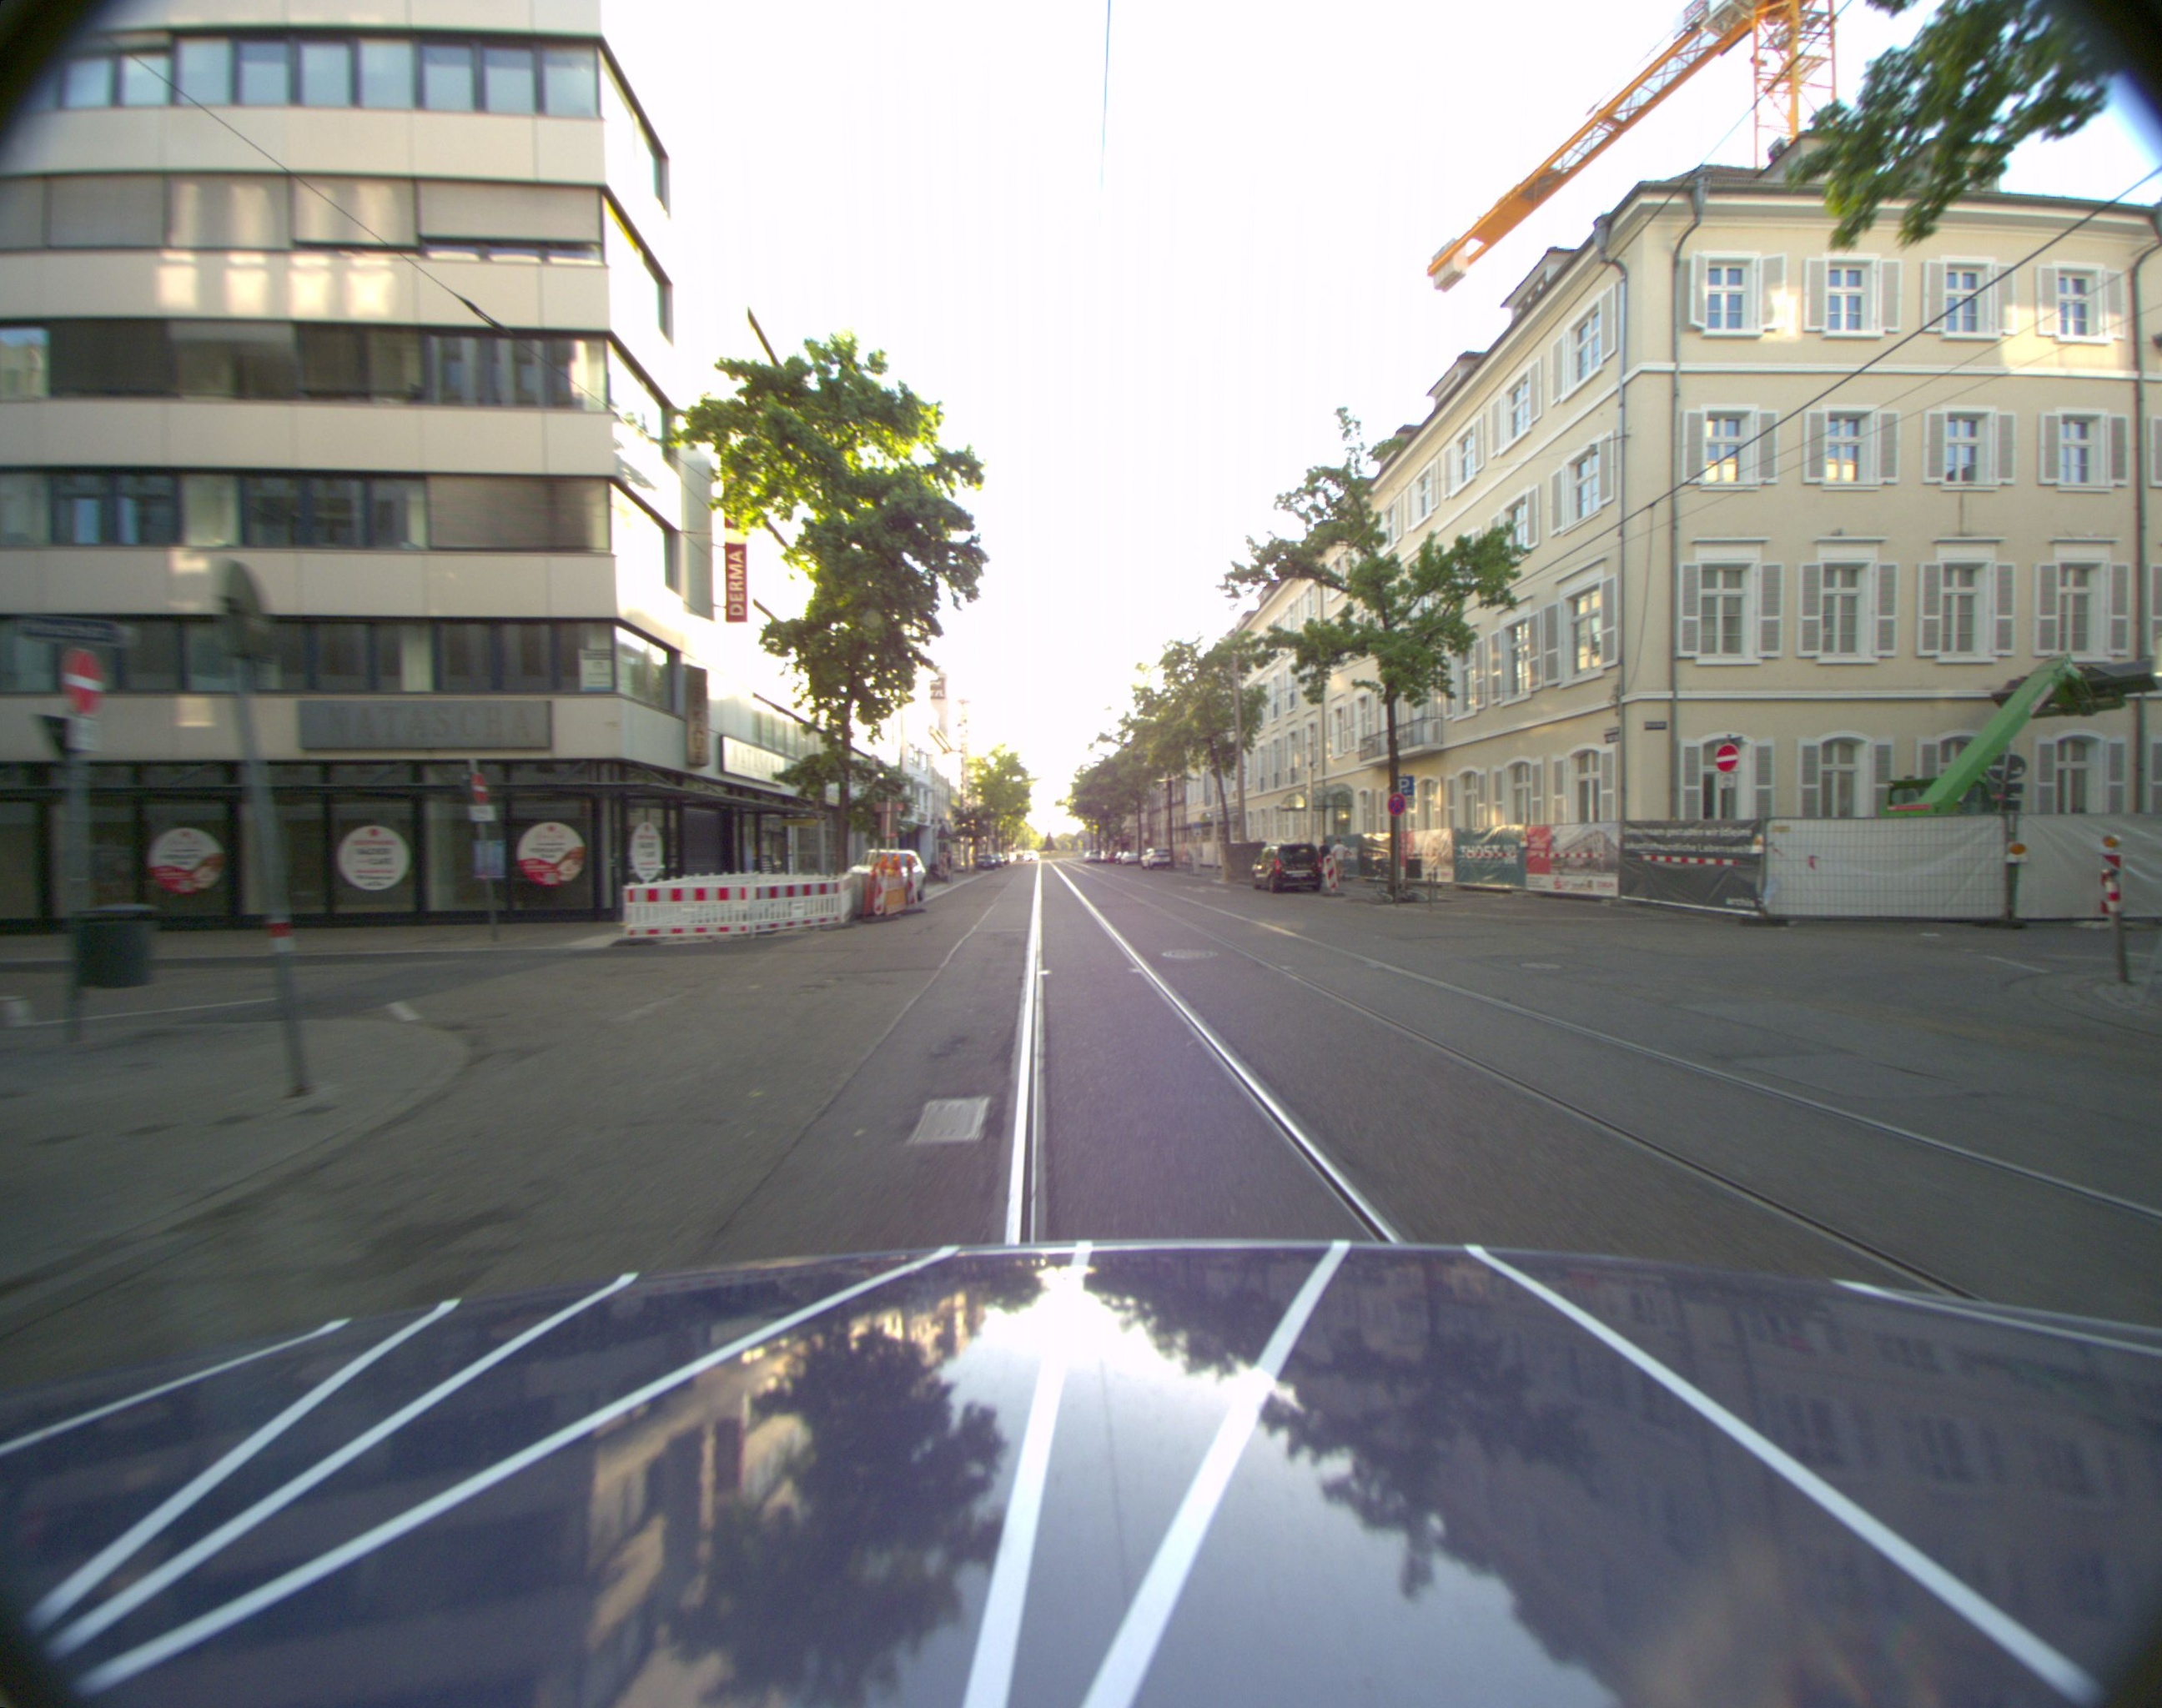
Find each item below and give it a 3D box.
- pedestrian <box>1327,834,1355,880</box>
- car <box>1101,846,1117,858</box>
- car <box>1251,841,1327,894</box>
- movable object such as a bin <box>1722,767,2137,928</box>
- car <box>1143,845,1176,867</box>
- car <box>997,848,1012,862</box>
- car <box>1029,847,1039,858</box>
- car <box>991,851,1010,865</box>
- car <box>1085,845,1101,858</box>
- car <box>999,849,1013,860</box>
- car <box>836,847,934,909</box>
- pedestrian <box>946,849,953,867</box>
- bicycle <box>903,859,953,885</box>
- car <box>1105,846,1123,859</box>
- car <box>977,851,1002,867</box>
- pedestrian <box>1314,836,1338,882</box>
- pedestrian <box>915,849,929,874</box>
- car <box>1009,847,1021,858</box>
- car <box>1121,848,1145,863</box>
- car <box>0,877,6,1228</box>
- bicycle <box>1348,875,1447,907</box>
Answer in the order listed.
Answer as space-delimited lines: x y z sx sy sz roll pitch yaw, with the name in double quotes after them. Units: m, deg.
10.992 0.132 32.138 0.759 1.874 0.879 -3 2 -2 "pedestrian"
3.843 -0.271 105.296 1.999 1.540 4.104 -1 1 -1 "car"
7.765 0.451 28.735 1.772 1.754 3.877 -3 1 1 "car"
16.520 -0.163 15.069 5.563 2.856 2.642 0 2 -5 "movable object such as a bin"
6.246 0.140 60.776 1.999 1.727 4.103 -1 1 -3 "car"
-9.674 0.072 96.312 1.903 1.683 4.102 -1 1 -6 "car"
-7.863 -0.222 127.702 1.739 1.727 4.103 -1 1 -3 "car"
-8.363 0.397 79.070 1.739 1.311 4.103 1 1 -4 "car"
1.554 -0.316 101.001 1.999 1.727 4.104 -1 1 -1 "car"
-10.004 0.061 101.735 1.687 1.472 3.844 -1 1 -4 "car"
-6.196 0.692 24.608 1.999 1.761 4.669 1 0 -1 "car"
-11.471 0.368 66.101 0.477 1.539 0.747 -1 2 -3 "pedestrian"
-7.320 0.844 36.379 2.164 1.152 0.761 2 2 3 "bicycle"
4.266 -0.221 99.317 1.999 1.567 4.104 -1 1 -1 "car"
-8.305 0.453 69.448 2.003 1.354 4.103 1 1 -3 "car"
10.247 0.214 31.823 0.679 1.874 0.769 -3 2 -2 "pedestrian"
-9.966 0.463 47.711 0.730 1.549 0.839 0 2 -1 "pedestrian"
-10.211 -0.250 117.516 1.739 1.727 4.103 -1 1 -3 "car"
5.398 0.174 79.025 1.999 1.494 4.103 -1 1 -3 "car"
-6.557 0.931 1.746 4.279 1.662 1.947 1 2 -28 "car"
8.551 0.991 20.611 2.077 0.702 1.329 -2 1 -9 "bicycle"
